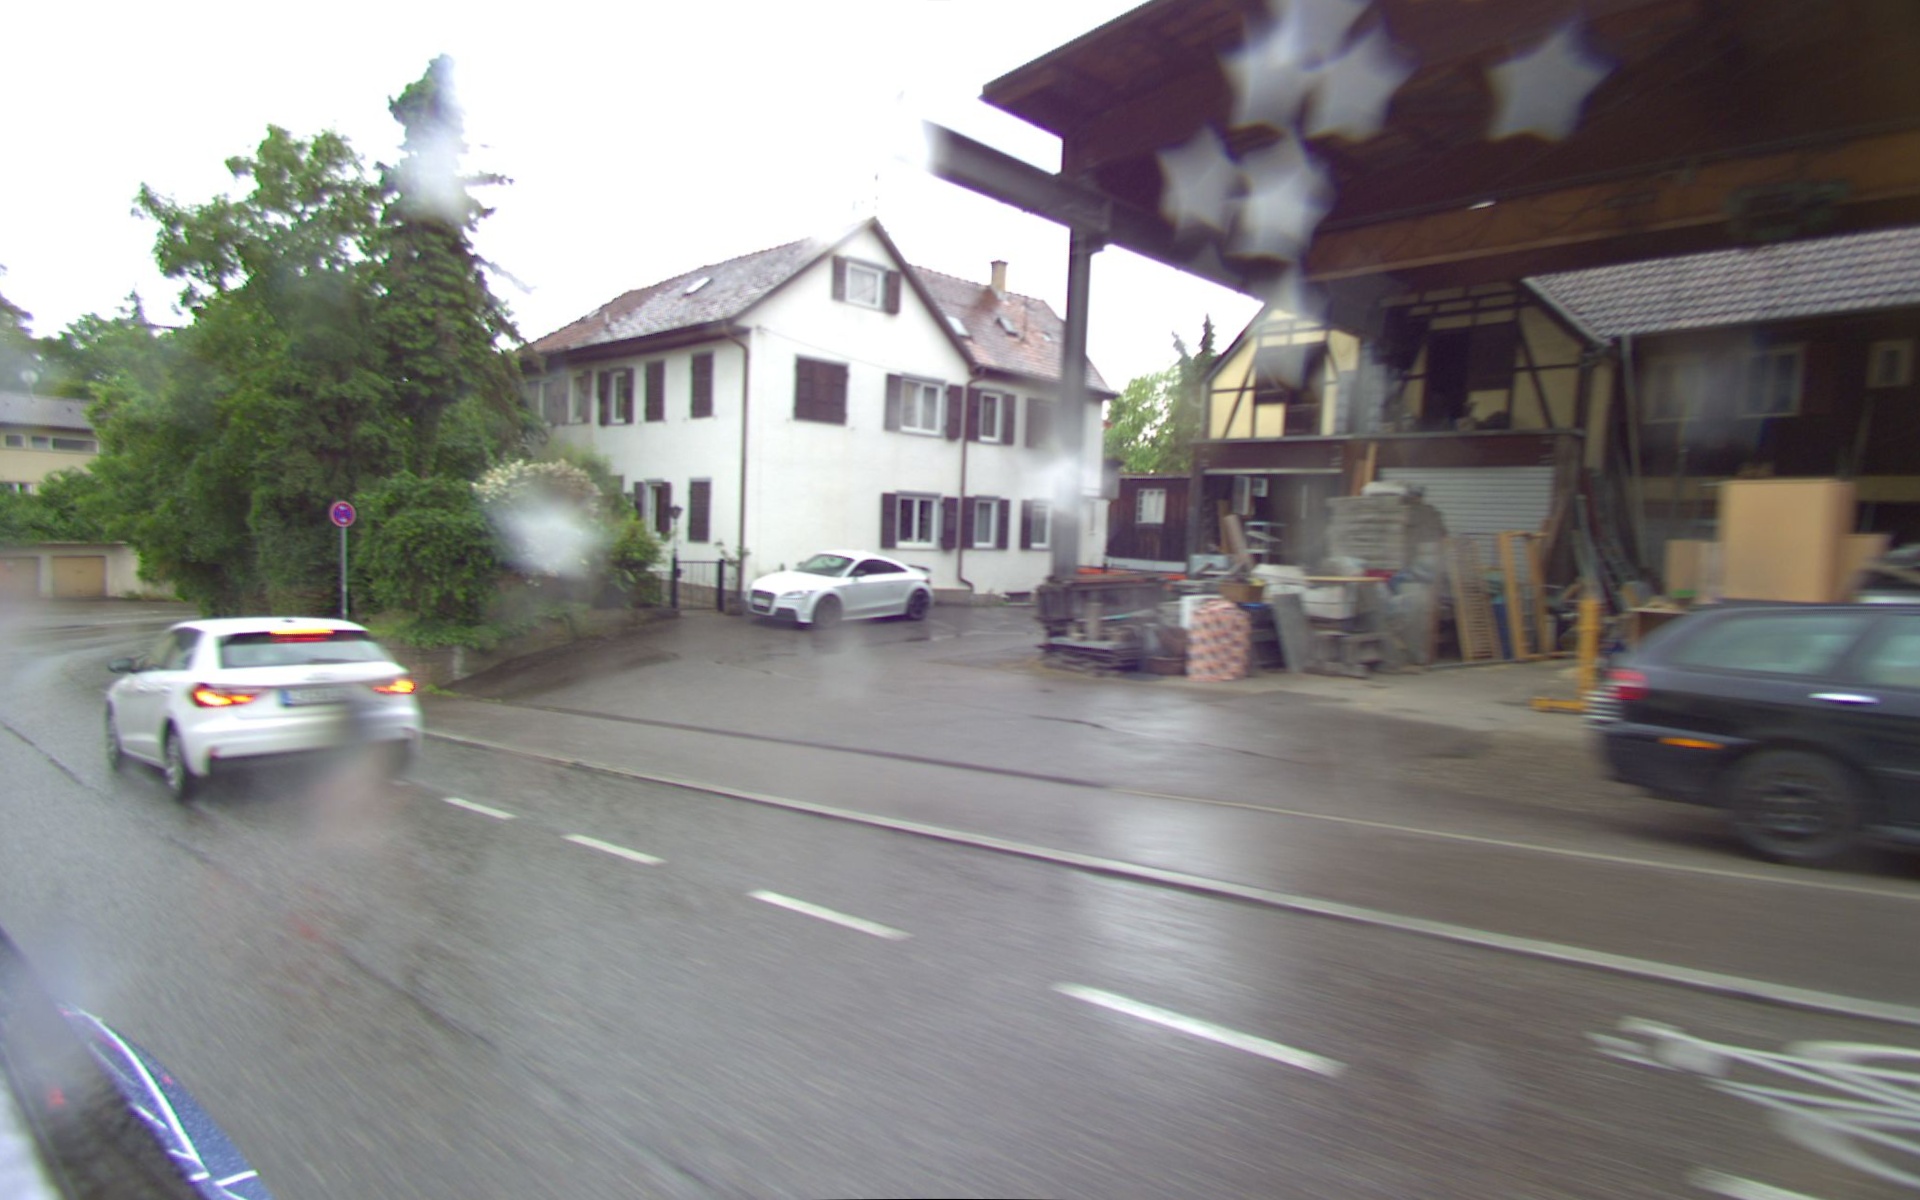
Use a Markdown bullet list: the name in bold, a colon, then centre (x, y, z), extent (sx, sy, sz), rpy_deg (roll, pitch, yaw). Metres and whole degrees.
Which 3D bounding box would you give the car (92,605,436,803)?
- **car**: centre (-6.424, 0.765, 9.161), extent (4.050, 1.398, 1.684), rpy_deg (0, -1, 42)

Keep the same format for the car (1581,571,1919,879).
- **car**: centre (5.787, 0.588, 4.894), extent (4.446, 1.452, 1.873), rpy_deg (-1, -2, 44)

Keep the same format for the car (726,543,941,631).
- **car**: centre (-2.373, -0.282, 19.700), extent (1.804, 1.519, 3.944), rpy_deg (2, 2, 43)
